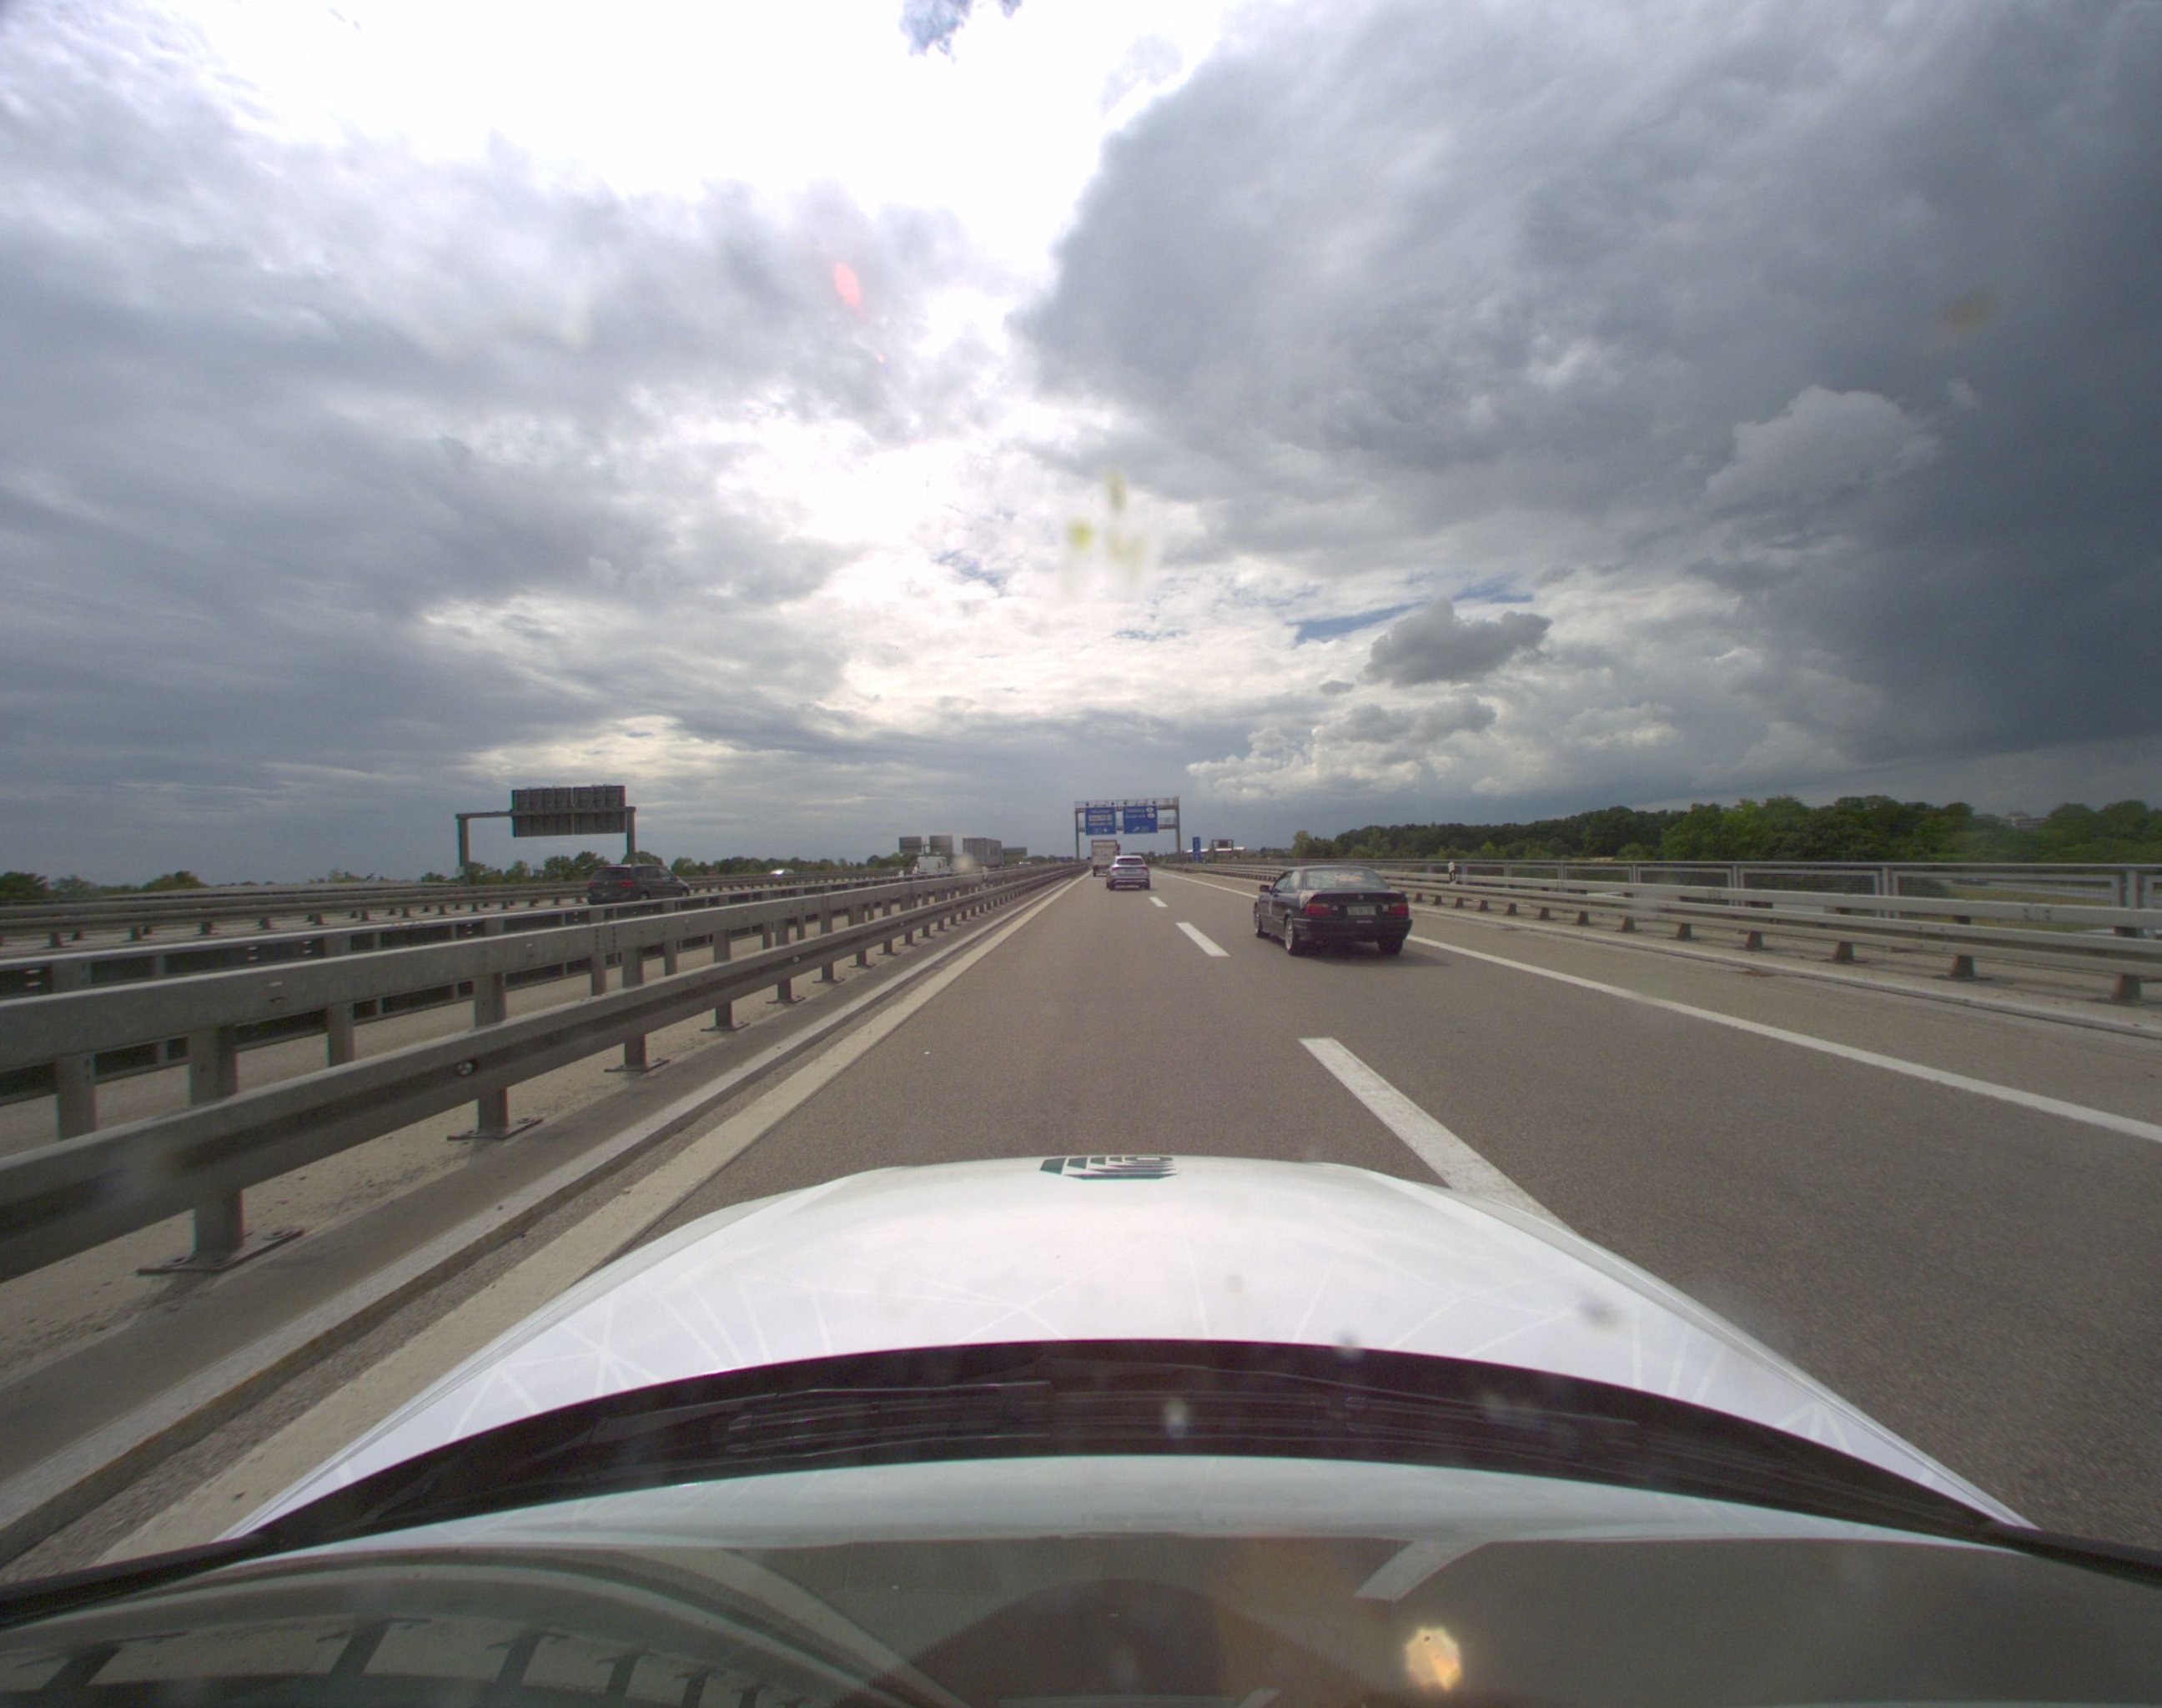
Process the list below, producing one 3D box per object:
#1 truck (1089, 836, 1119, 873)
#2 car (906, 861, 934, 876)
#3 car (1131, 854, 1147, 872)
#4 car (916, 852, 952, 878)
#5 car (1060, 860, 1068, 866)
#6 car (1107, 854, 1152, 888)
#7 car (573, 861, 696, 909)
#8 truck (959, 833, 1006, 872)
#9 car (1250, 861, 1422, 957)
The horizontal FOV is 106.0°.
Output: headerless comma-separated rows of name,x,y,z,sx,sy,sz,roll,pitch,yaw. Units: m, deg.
truck,2.071,0.105,73.751,2.559,3.126,8.636,0,-1,2
car,-15.844,1.409,80.470,1.790,1.420,4.004,0,0,3
car,7.521,1.131,106.066,1.899,2.262,4.650,0,0,1
car,-11.854,0.876,65.786,1.986,2.013,4.376,0,0,2
car,-4.793,2.502,232.741,1.820,1.563,4.003,-1,0,3
car,2.277,0.774,38.972,1.815,1.514,3.997,0,0,-2
car,-16.249,1.069,29.969,1.874,1.546,4.616,0,0,1
truck,-11.094,-0.187,93.588,3.172,4.019,16.076,0,0,1
car,3.968,0.780,13.430,1.697,1.281,4.369,0,0,3
